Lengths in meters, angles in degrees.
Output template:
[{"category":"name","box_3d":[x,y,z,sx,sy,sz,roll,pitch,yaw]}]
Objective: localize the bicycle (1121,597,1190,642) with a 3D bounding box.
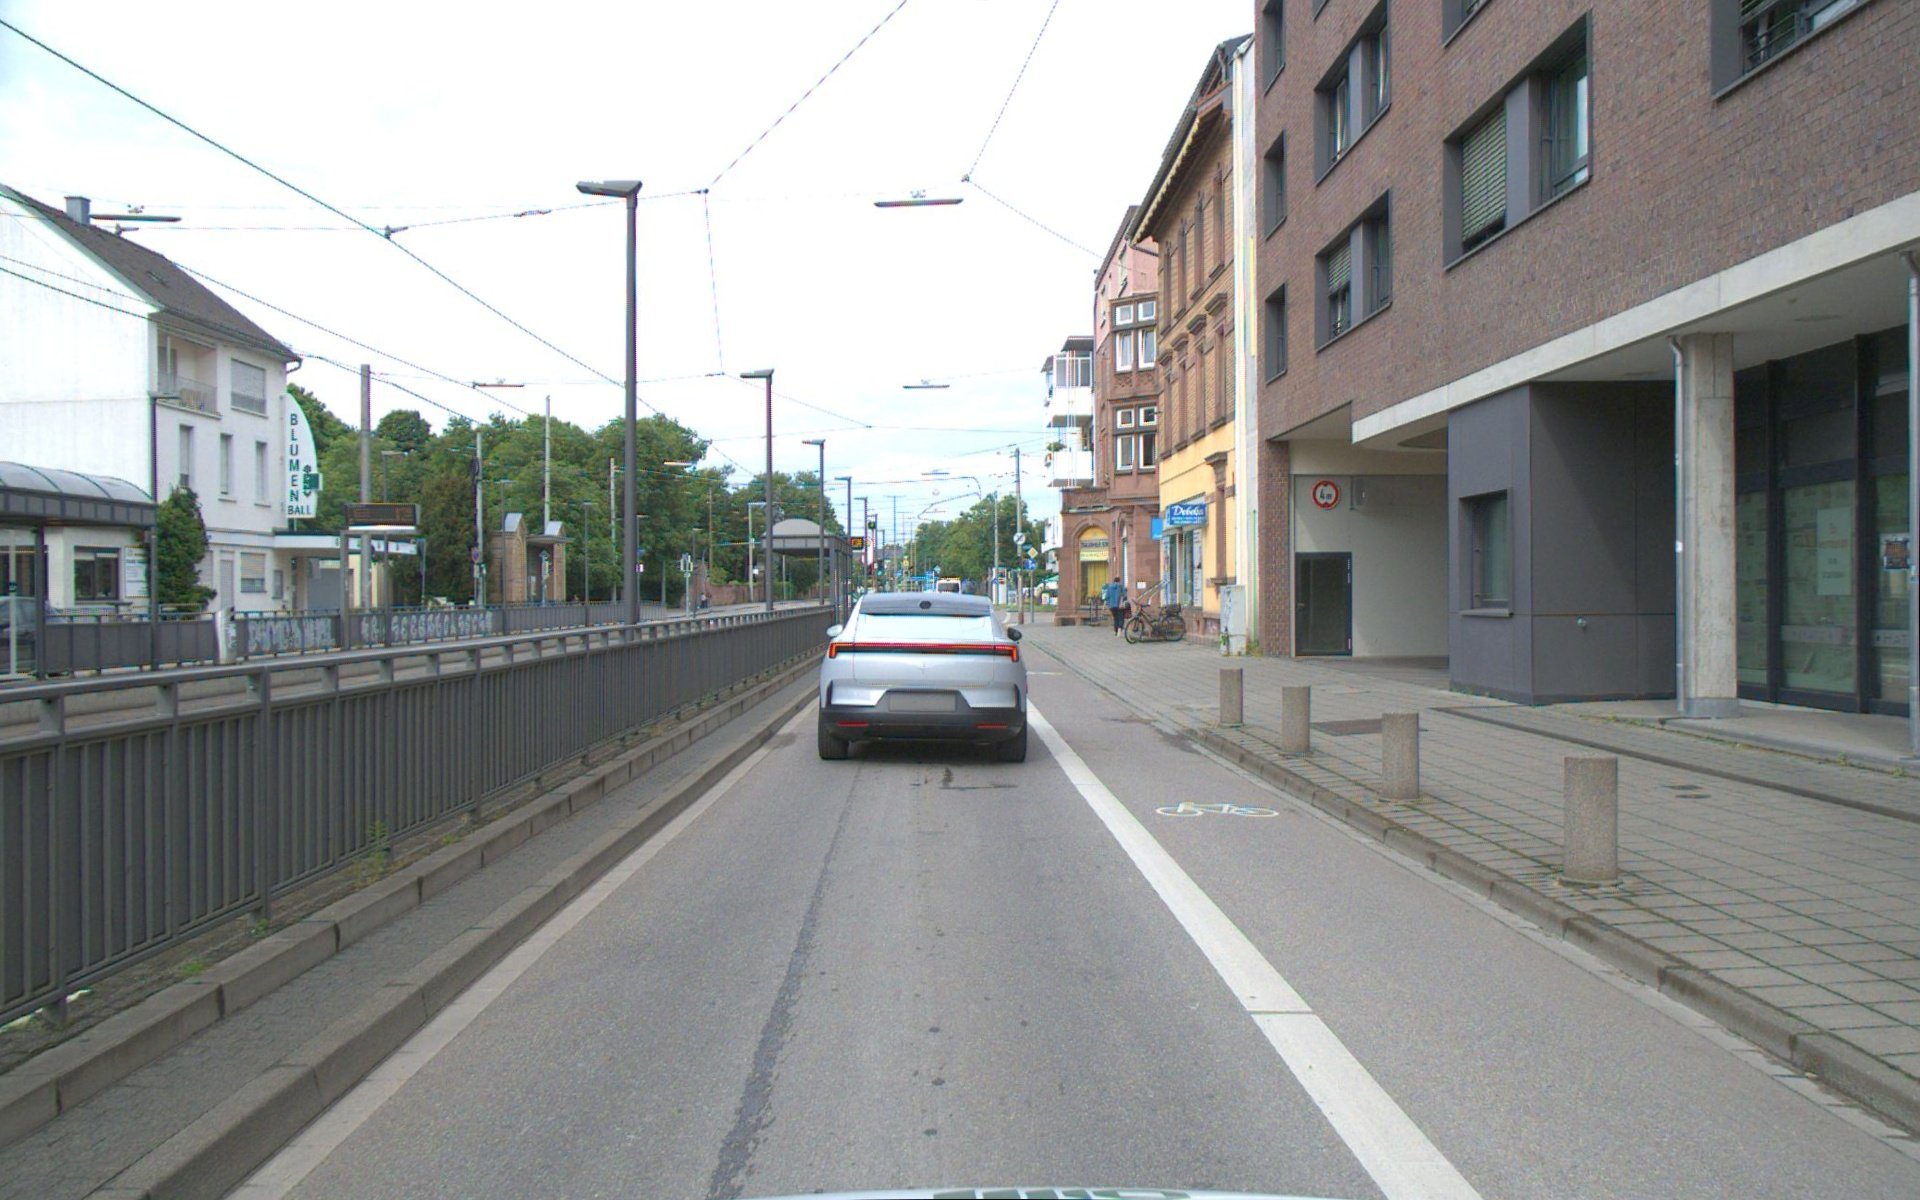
[{"category":"bicycle","box_3d":[5.344,0.529,45.278,1.742,1.149,0.642,-3,0,-2]}]

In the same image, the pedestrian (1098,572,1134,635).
[{"category":"pedestrian","box_3d":[4.813,0.112,51.200,0.941,1.882,0.975,-3,1,-1]}]

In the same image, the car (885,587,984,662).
[{"category":"car","box_3d":[-0.579,0.476,34.985,1.953,1.444,3.998,-1,0,-2]}]

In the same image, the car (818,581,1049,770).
[{"category":"car","box_3d":[-0.389,0.660,16.137,1.960,1.608,3.995,0,0,-5]}]

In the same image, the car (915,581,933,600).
[{"category":"car","box_3d":[-3.996,-1.078,183.785,1.953,2.049,3.999,0,0,-1]}]

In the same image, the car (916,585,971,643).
[{"category":"car","box_3d":[-0.513,0.420,51.197,1.647,1.717,3.823,0,0,-1]}]

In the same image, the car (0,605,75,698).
[{"category":"car","box_3d":[-16.259,0.832,27.115,1.729,1.477,3.994,0,-1,-7]}]

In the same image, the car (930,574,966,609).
[{"category":"car","box_3d":[-0.878,-0.603,117.650,2.182,2.444,5.118,0,0,-4]}]

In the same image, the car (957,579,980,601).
[{"category":"car","box_3d":[1.044,-1.219,204.472,2.750,2.548,5.721,0,0,-1]}]
